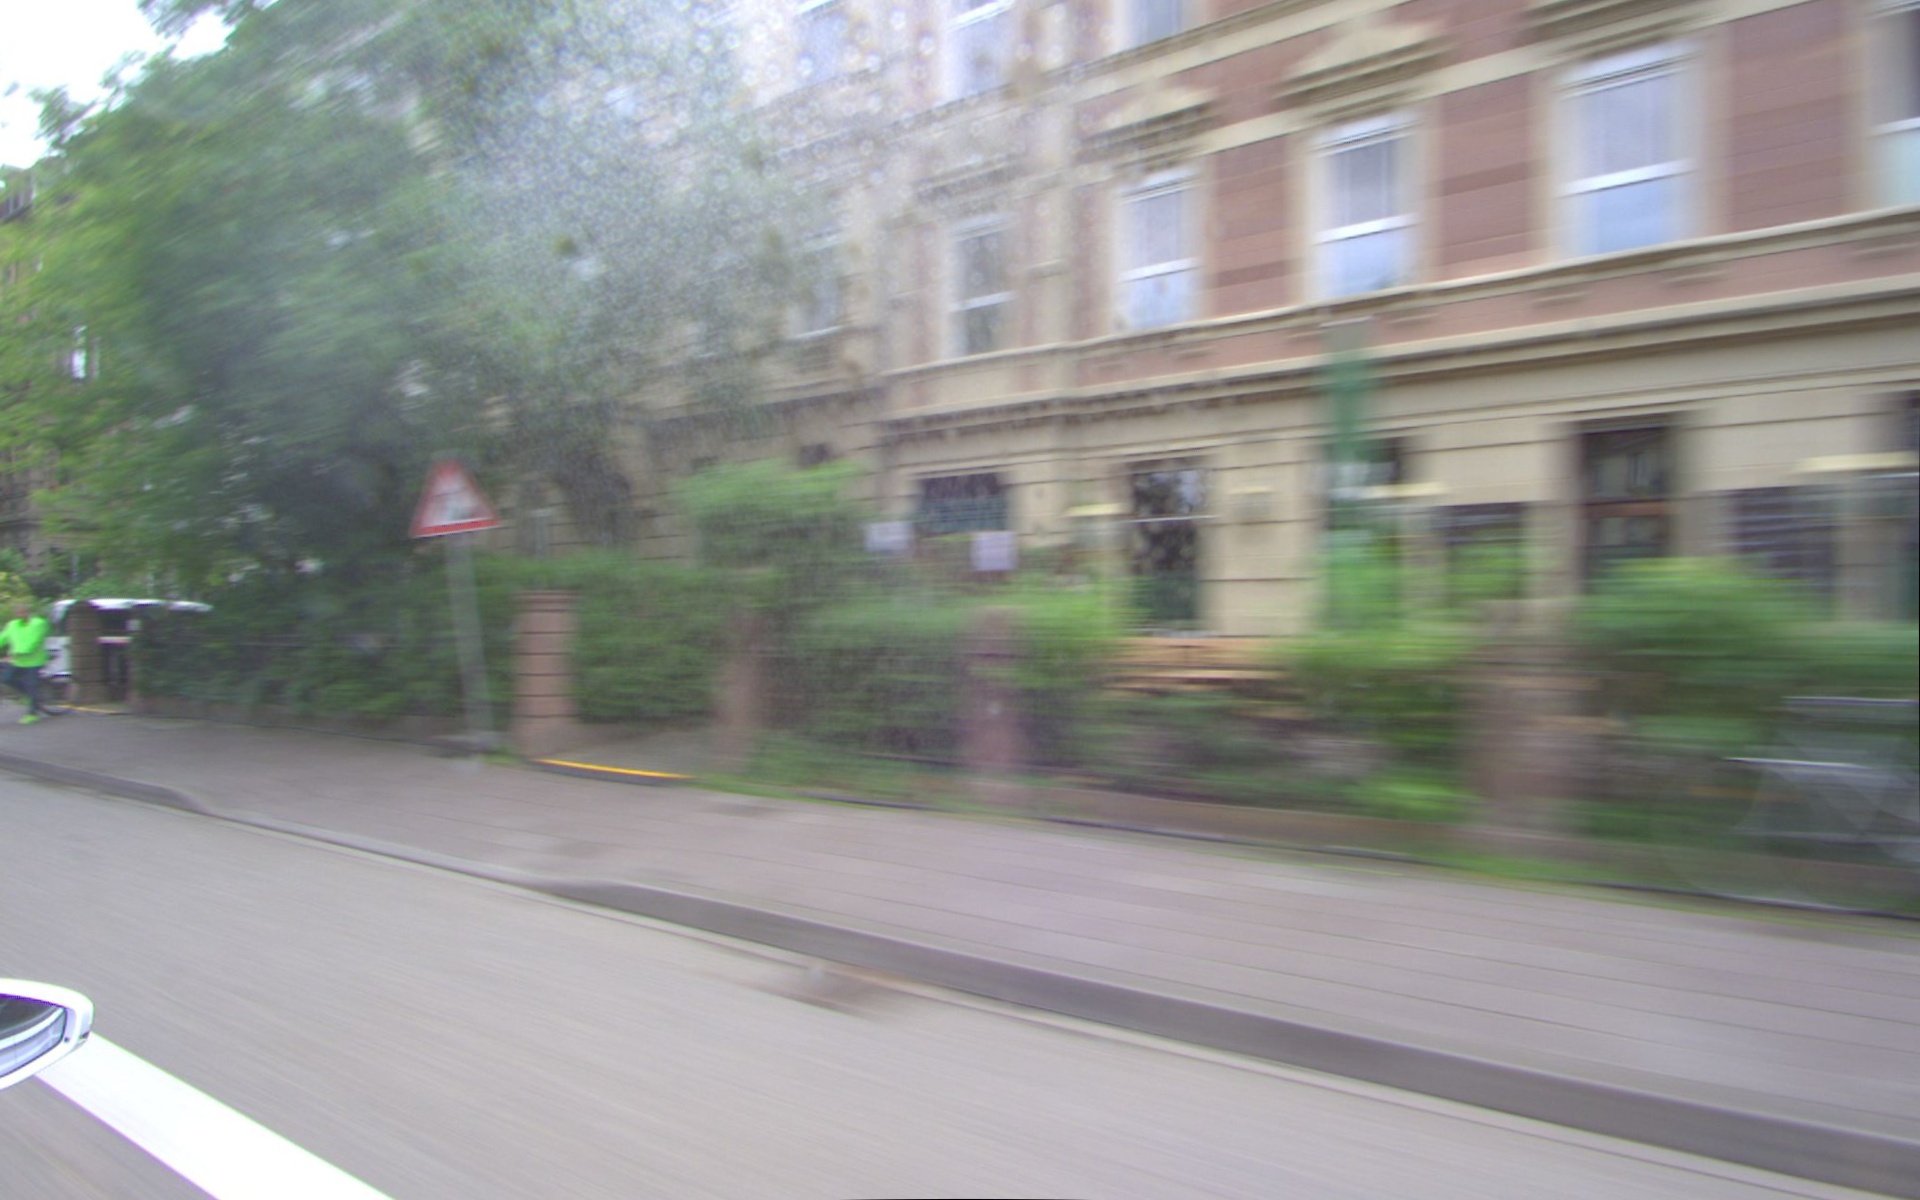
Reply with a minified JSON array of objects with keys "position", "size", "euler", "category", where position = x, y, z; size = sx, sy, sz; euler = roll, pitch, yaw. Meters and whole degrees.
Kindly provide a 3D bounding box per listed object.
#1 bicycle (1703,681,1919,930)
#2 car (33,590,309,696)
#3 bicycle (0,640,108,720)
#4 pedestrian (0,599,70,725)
[{"position":[4.449,0.926,4.447],"size":[1.822,1.055,0.301],"euler":[0,-1,32],"category":"bicycle"},{"position":[-15.613,0.794,20.023],"size":[1.783,1.883,3.979],"euler":[0,0,32],"category":"car"},{"position":[-14.276,1.222,15.257],"size":[0.597,1.091,1.837],"euler":[0,3,30],"category":"bicycle"},{"position":[-14.068,0.898,14.657],"size":[1.003,1.757,1.226],"euler":[0,3,31],"category":"pedestrian"}]
